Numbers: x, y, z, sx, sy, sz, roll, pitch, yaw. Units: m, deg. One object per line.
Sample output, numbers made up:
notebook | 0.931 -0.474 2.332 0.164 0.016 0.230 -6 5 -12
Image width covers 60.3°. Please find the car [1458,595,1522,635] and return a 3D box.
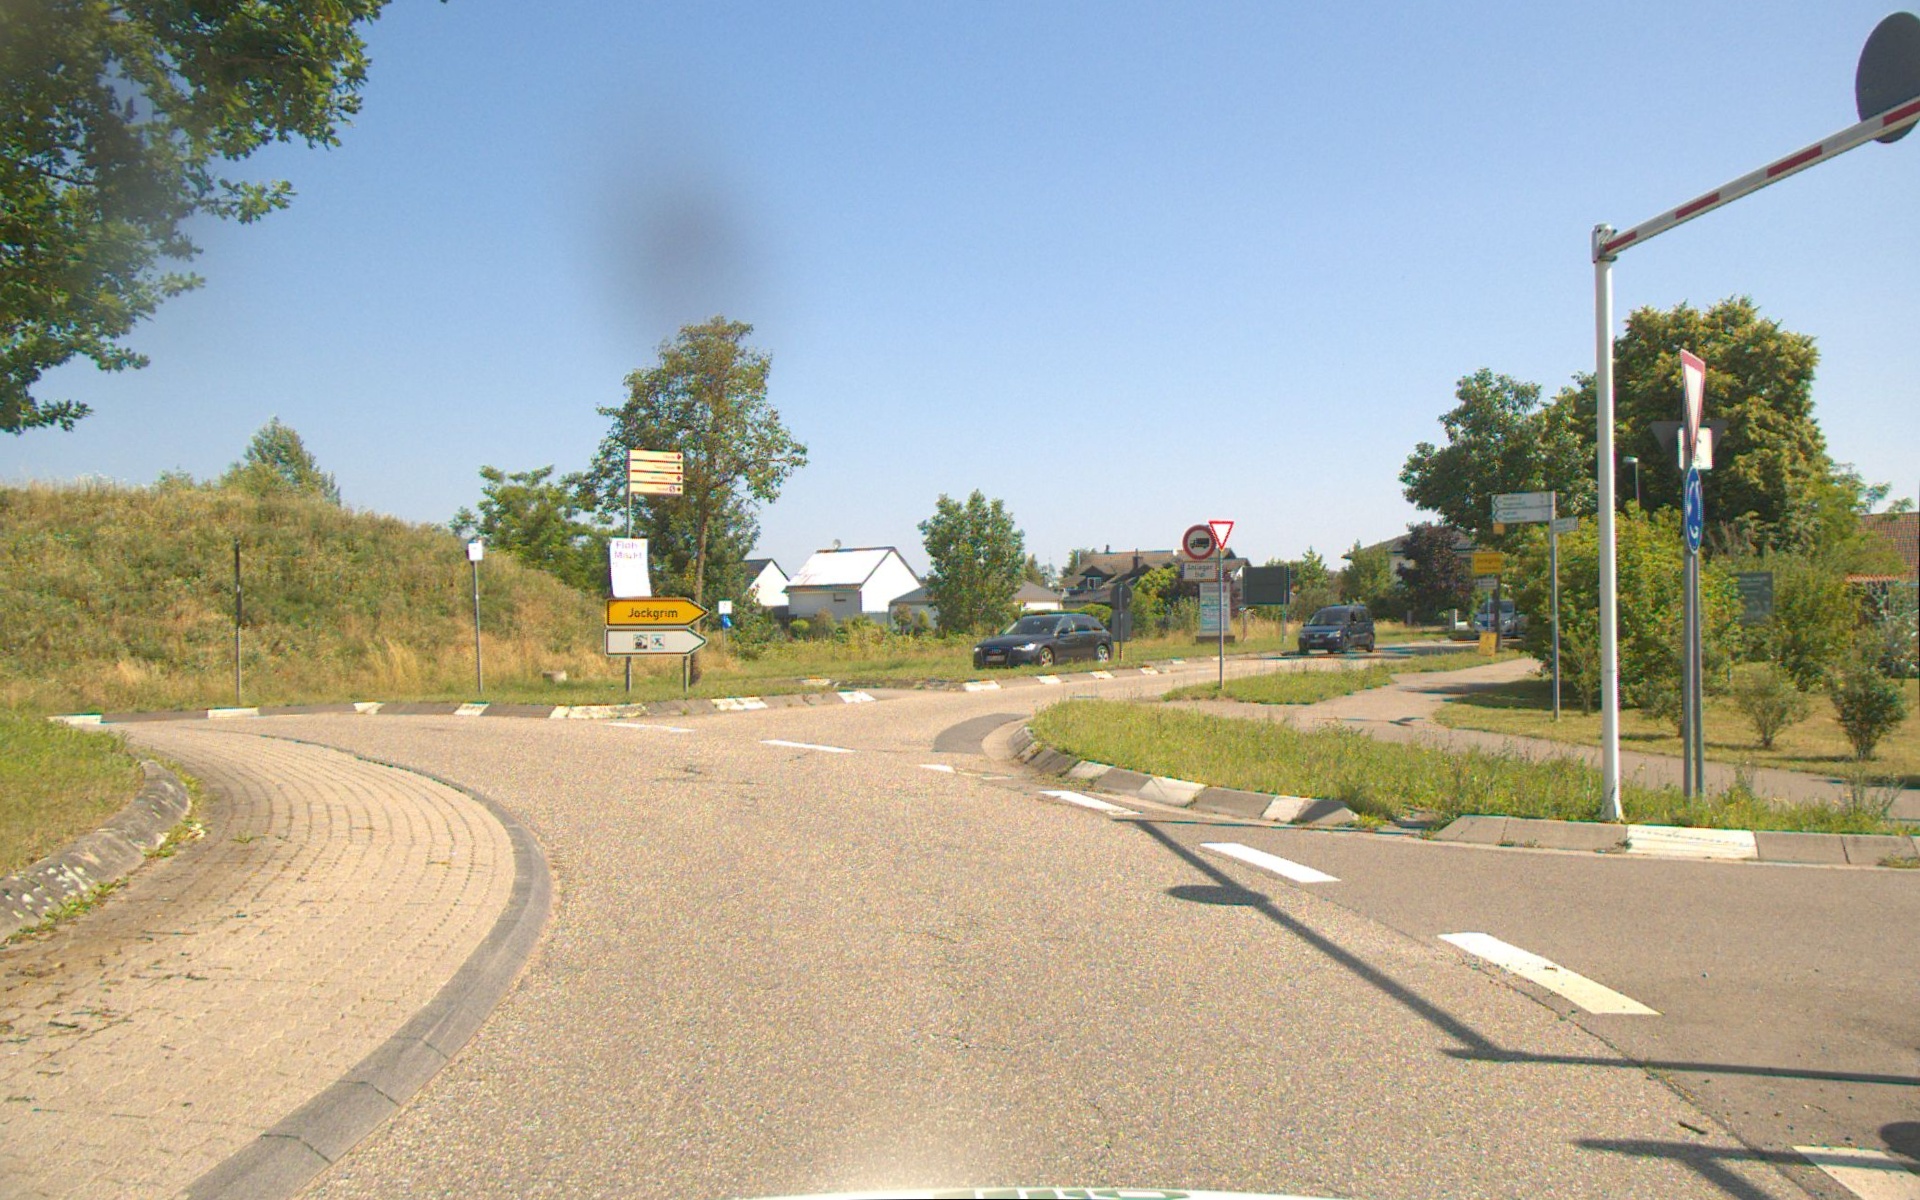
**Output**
car | 25.573 0.708 79.665 1.956 1.847 5.193 -1 -1 29

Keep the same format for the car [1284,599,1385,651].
car | 13.330 0.876 58.620 1.779 1.669 4.639 -6 -4 35

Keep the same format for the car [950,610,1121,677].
car | 1.926 1.046 40.597 1.884 1.459 4.897 -5 -3 34
